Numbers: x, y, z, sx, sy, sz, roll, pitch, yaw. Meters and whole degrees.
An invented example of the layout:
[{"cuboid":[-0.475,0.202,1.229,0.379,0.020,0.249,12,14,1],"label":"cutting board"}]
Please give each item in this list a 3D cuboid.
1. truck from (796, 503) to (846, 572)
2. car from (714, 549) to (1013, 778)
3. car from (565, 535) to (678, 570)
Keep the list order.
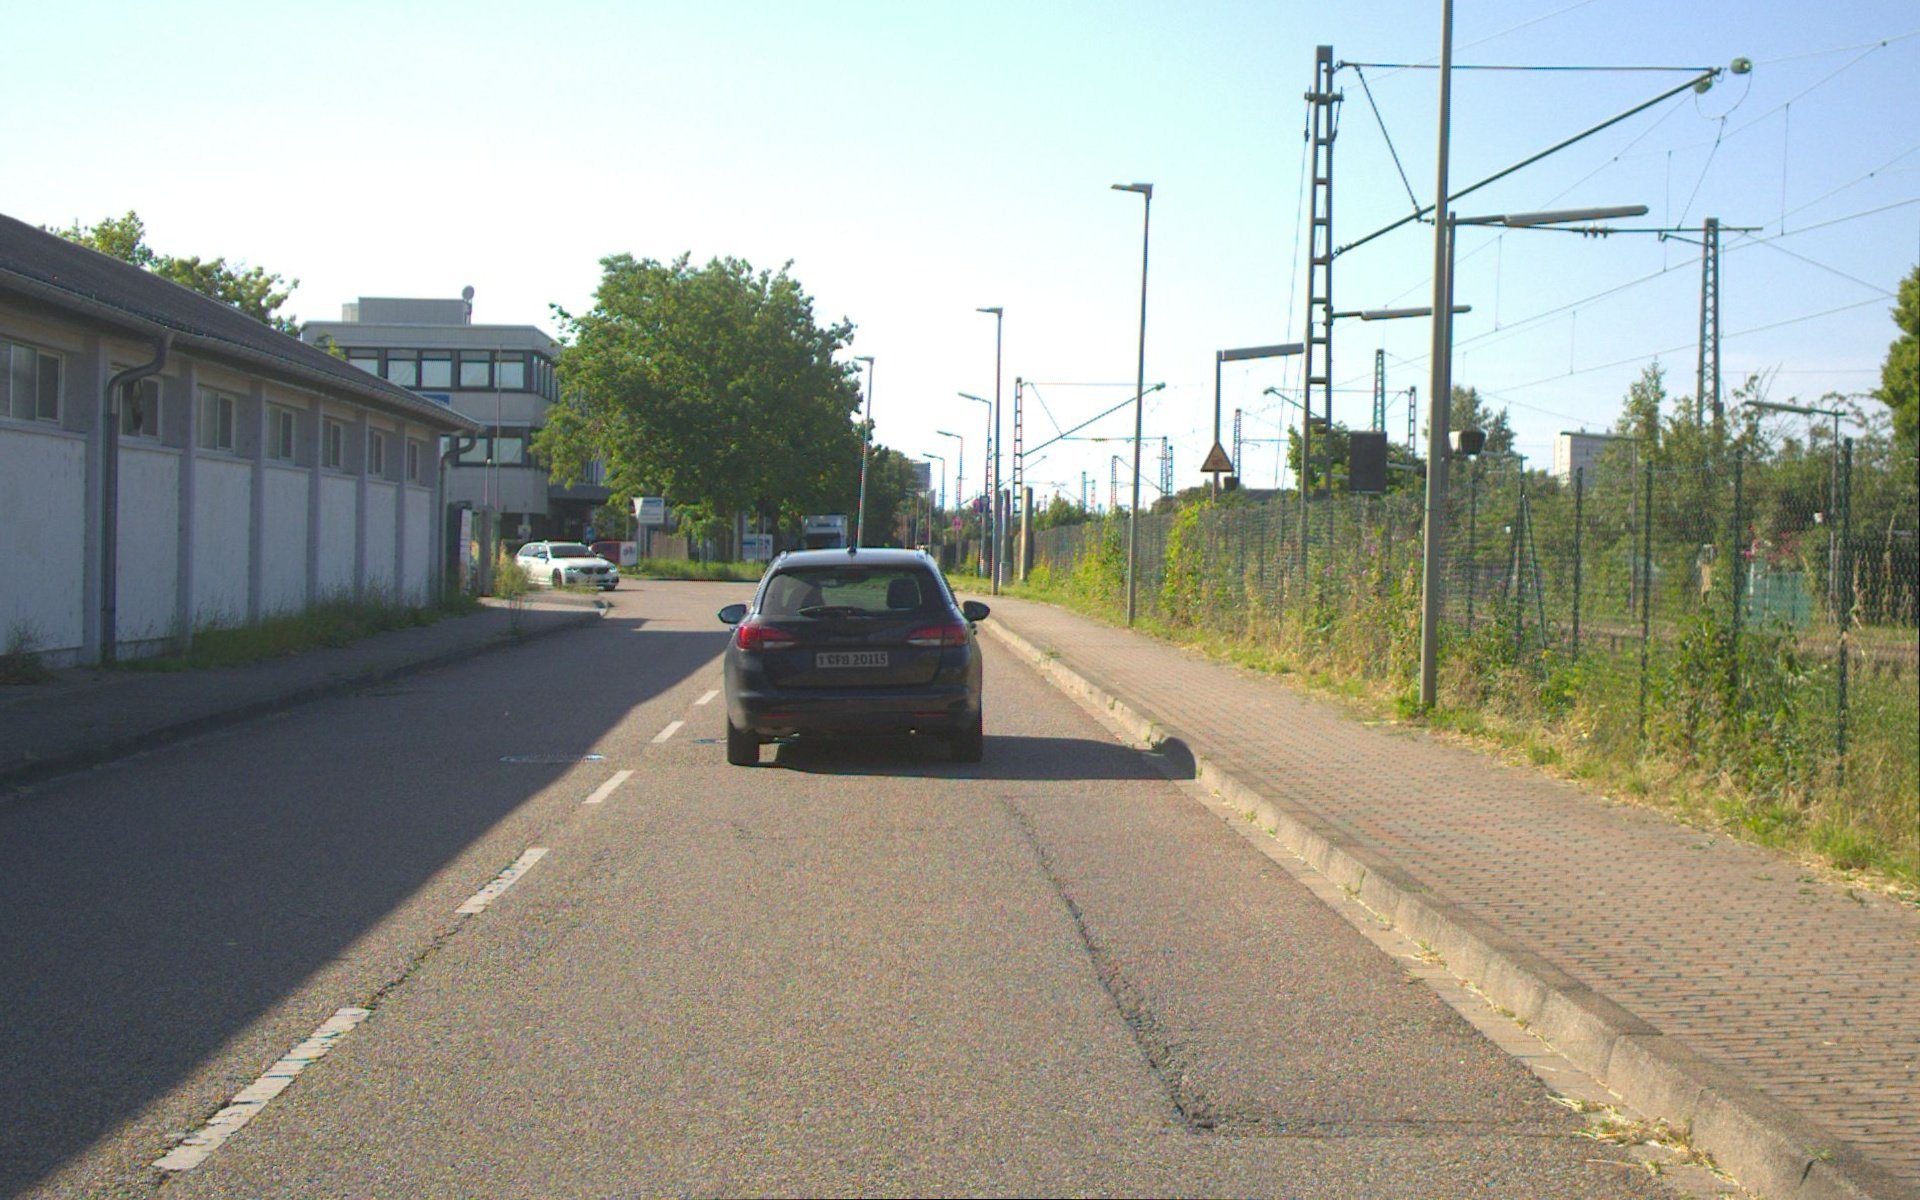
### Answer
[{"cuboid":[-8.232,-3.667,202.404,2.612,3.872,13.534,2,1,-3],"label":"truck"},{"cuboid":[-0.694,0.382,24.639,1.942,1.483,4.566,0,1,-2],"label":"car"},{"cuboid":[-15.525,-2.204,157.950,4.911,1.479,2.000,1,2,3],"label":"car"}]
